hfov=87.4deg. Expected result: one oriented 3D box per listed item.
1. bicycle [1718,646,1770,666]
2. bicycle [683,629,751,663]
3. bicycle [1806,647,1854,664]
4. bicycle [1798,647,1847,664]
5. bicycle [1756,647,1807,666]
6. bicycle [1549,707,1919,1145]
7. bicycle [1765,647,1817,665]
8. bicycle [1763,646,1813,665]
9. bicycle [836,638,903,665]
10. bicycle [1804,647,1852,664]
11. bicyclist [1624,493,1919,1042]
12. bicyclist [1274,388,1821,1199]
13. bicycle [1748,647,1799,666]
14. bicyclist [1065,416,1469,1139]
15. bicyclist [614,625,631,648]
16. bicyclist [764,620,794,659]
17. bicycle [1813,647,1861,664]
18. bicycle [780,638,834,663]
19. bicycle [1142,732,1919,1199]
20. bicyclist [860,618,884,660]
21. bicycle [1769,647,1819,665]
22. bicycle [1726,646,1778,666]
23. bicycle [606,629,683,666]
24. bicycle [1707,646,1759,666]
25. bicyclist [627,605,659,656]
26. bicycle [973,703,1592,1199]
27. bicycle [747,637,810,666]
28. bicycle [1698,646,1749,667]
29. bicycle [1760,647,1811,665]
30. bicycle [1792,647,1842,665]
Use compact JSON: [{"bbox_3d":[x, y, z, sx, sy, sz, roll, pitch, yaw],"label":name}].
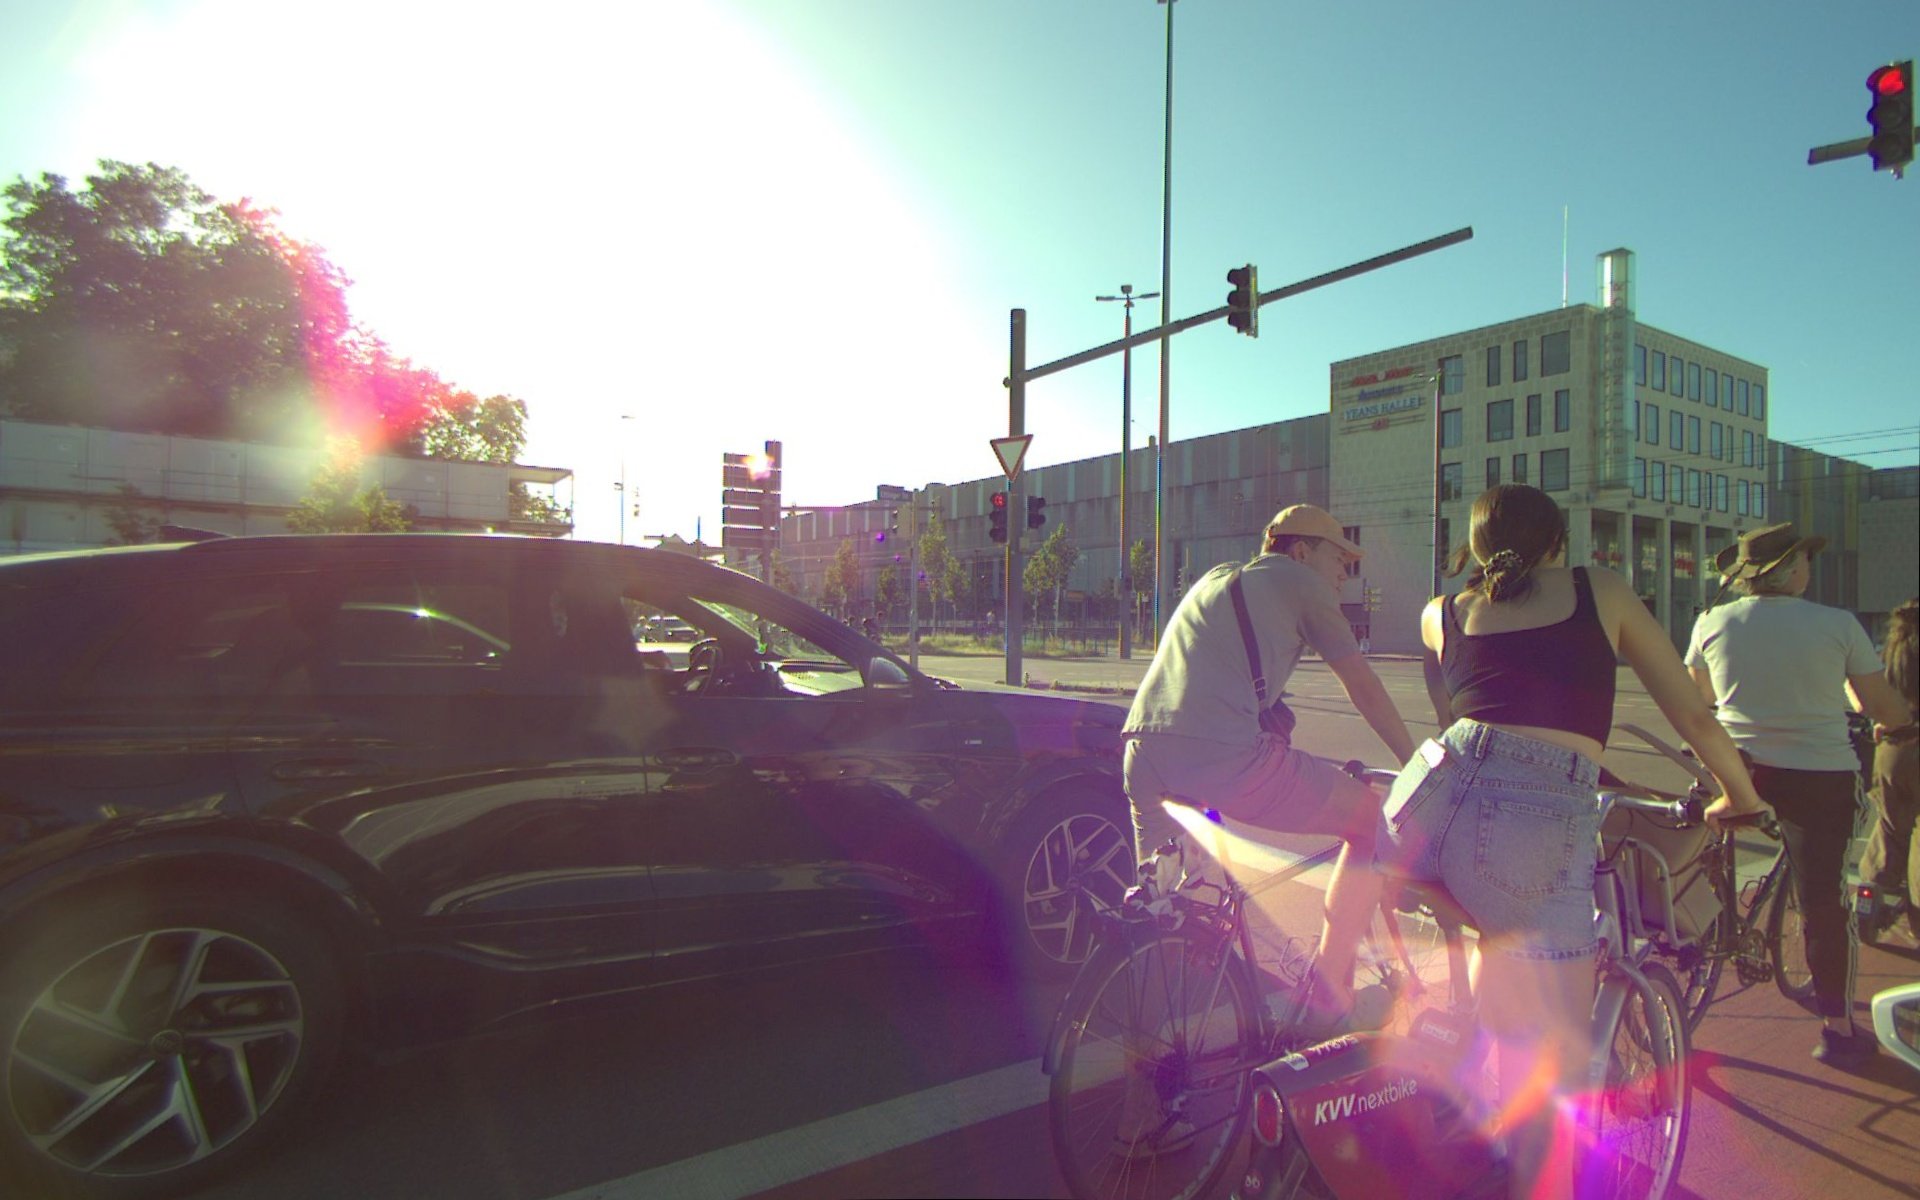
[{"bbox_3d":[48.015,3.433,61.521,0.675,1.125,2.459,1,-2,-27],"label":"bicycle"},{"bbox_3d":[-7.351,1.378,30.425,1.949,1.010,0.646,1,-1,-21],"label":"bicycle"},{"bbox_3d":[60.341,3.857,69.724,0.623,1.125,2.458,1,-2,-28],"label":"bicycle"},{"bbox_3d":[59.110,3.800,68.877,0.652,1.125,2.458,1,-2,-28],"label":"bicycle"},{"bbox_3d":[52.564,3.587,64.283,0.675,1.125,2.458,1,-2,-28],"label":"bicycle"},{"bbox_3d":[2.936,0.992,3.585,1.780,1.108,0.703,1,-1,-32],"label":"bicycle"},{"bbox_3d":[53.870,3.622,65.147,0.824,1.125,2.458,1,-2,-28],"label":"bicycle"},{"bbox_3d":[54.444,3.651,66.098,0.675,1.125,2.458,1,-2,-28],"label":"bicycle"},{"bbox_3d":[-3.325,1.906,37.086,2.368,0.953,0.750,1,-1,-32],"label":"bicycle"},{"bbox_3d":[59.789,3.828,69.234,0.652,1.125,2.458,1,-2,-28],"label":"bicycle"},{"bbox_3d":[2.959,0.529,3.611,0.777,1.691,0.695,1,-1,-32],"label":"bicyclist"},{"bbox_3d":[1.186,0.463,2.060,0.837,1.563,0.647,1,-1,-31],"label":"bicyclist"},{"bbox_3d":[51.527,3.551,63.657,0.586,1.125,2.458,1,-2,-28],"label":"bicycle"},{"bbox_3d":[0.829,0.404,2.723,0.884,1.596,0.620,1,-1,-31],"label":"bicyclist"},{"bbox_3d":[-19.457,2.093,57.941,0.796,1.315,0.770,0,0,-30],"label":"bicyclist"},{"bbox_3d":[-6.449,1.397,35.744,0.832,1.375,0.798,0,0,-32],"label":"bicyclist"},{"bbox_3d":[61.259,3.875,70.221,0.652,1.125,2.458,1,-2,-28],"label":"bicycle"},{"bbox_3d":[-6.015,1.964,39.506,2.042,0.939,0.803,0,0,-14],"label":"bicycle"},{"bbox_3d":[1.271,0.905,2.113,1.780,1.108,0.647,1,-1,-32],"label":"bicycle"},{"bbox_3d":[-3.263,1.430,37.126,0.611,1.525,0.750,1,-1,-32],"label":"bicyclist"},{"bbox_3d":[55.461,3.685,66.811,0.824,1.125,2.458,1,-2,-28],"label":"bicycle"},{"bbox_3d":[48.748,3.442,61.846,0.675,1.125,2.458,1,-2,-28],"label":"bicycle"},{"bbox_3d":[-8.962,1.336,28.516,2.045,0.991,0.802,0,0,-20],"label":"bicycle"},{"bbox_3d":[46.834,3.405,60.870,0.676,1.125,2.457,1,-2,-29],"label":"bicycle"},{"bbox_3d":[-9.003,0.866,28.511,0.830,1.420,0.802,0,0,-20],"label":"bicyclist"},{"bbox_3d":[0.960,0.902,2.789,1.795,1.131,0.620,1,-1,-31],"label":"bicycle"},{"bbox_3d":[-6.444,1.816,35.741,2.054,0.939,0.798,0,-1,-33],"label":"bicycle"},{"bbox_3d":[45.702,3.371,60.170,0.650,1.127,2.391,1,-2,-29],"label":"bicycle"},{"bbox_3d":[53.193,3.600,64.730,0.675,1.125,2.458,1,-2,-28],"label":"bicycle"},{"bbox_3d":[58.362,3.786,68.423,0.824,1.125,2.458,1,-2,-28],"label":"bicycle"}]
